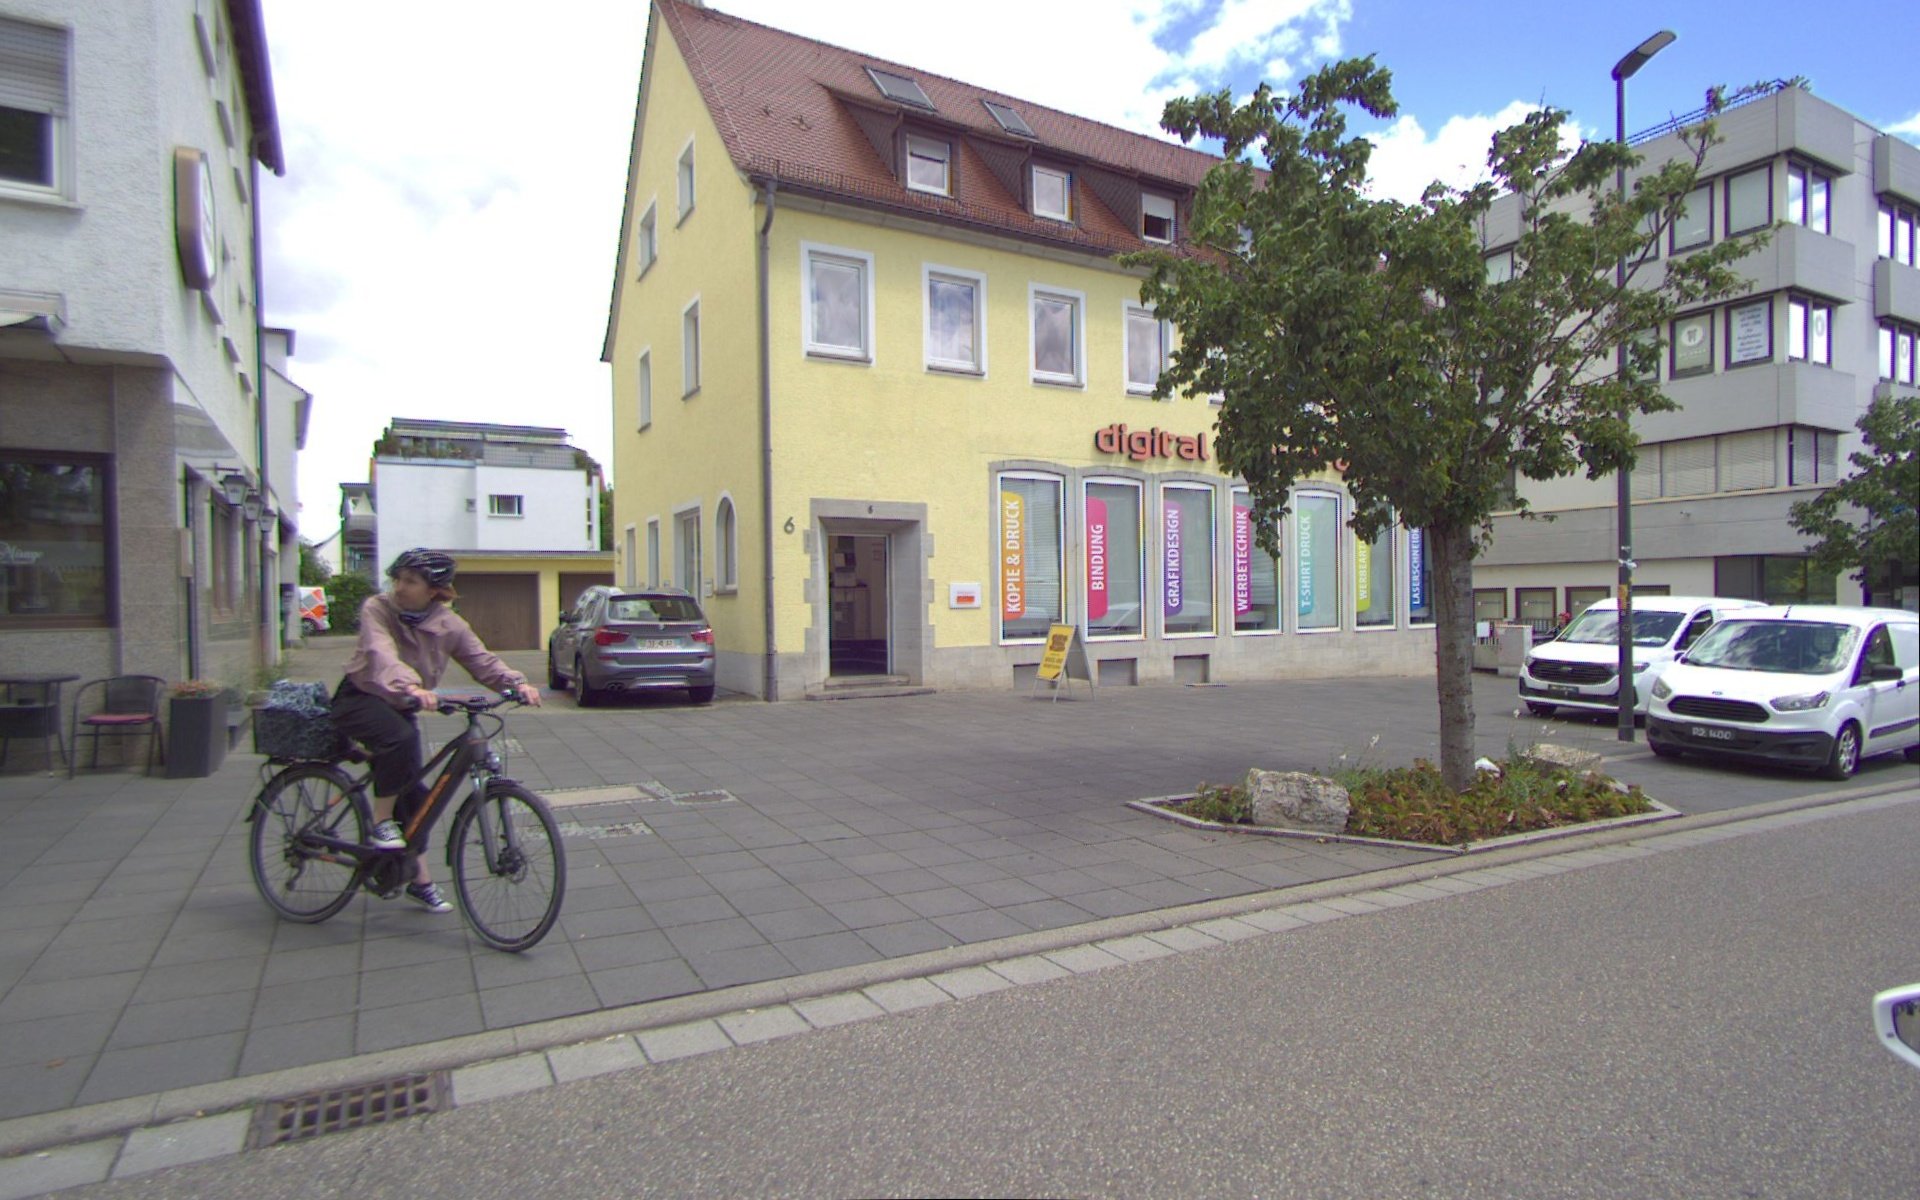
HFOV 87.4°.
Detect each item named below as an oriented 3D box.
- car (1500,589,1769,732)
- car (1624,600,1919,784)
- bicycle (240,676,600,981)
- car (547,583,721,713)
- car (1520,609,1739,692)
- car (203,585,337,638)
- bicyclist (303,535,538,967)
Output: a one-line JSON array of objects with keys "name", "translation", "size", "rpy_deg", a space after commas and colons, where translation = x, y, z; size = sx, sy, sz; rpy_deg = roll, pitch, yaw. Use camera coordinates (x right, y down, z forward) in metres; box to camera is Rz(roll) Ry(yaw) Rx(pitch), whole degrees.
[{"name": "car", "translation": [10.201, 0.837, 15.098], "size": [4.429, 1.838, 1.746], "rpy_deg": [2, 1, -33]}, {"name": "car", "translation": [9.402, 0.914, 11.216], "size": [4.302, 1.694, 1.647], "rpy_deg": [2, 0, -32]}, {"name": "bicycle", "translation": [-2.360, 0.912, 4.356], "size": [1.622, 1.102, 0.413], "rpy_deg": [0, -2, 22]}, {"name": "car", "translation": [-4.928, 0.627, 14.896], "size": [1.712, 1.672, 3.510], "rpy_deg": [1, 0, -31]}, {"name": "car", "translation": [14.423, 1.020, 21.799], "size": [1.651, 1.579, 3.605], "rpy_deg": [2, 0, -34]}, {"name": "car", "translation": [-25.394, 0.423, 37.024], "size": [3.921, 1.830, 1.480], "rpy_deg": [1, 0, -42]}, {"name": "bicyclist", "translation": [-2.350, 0.609, 4.399], "size": [0.763, 1.717, 0.510], "rpy_deg": [0, -2, 23]}]
